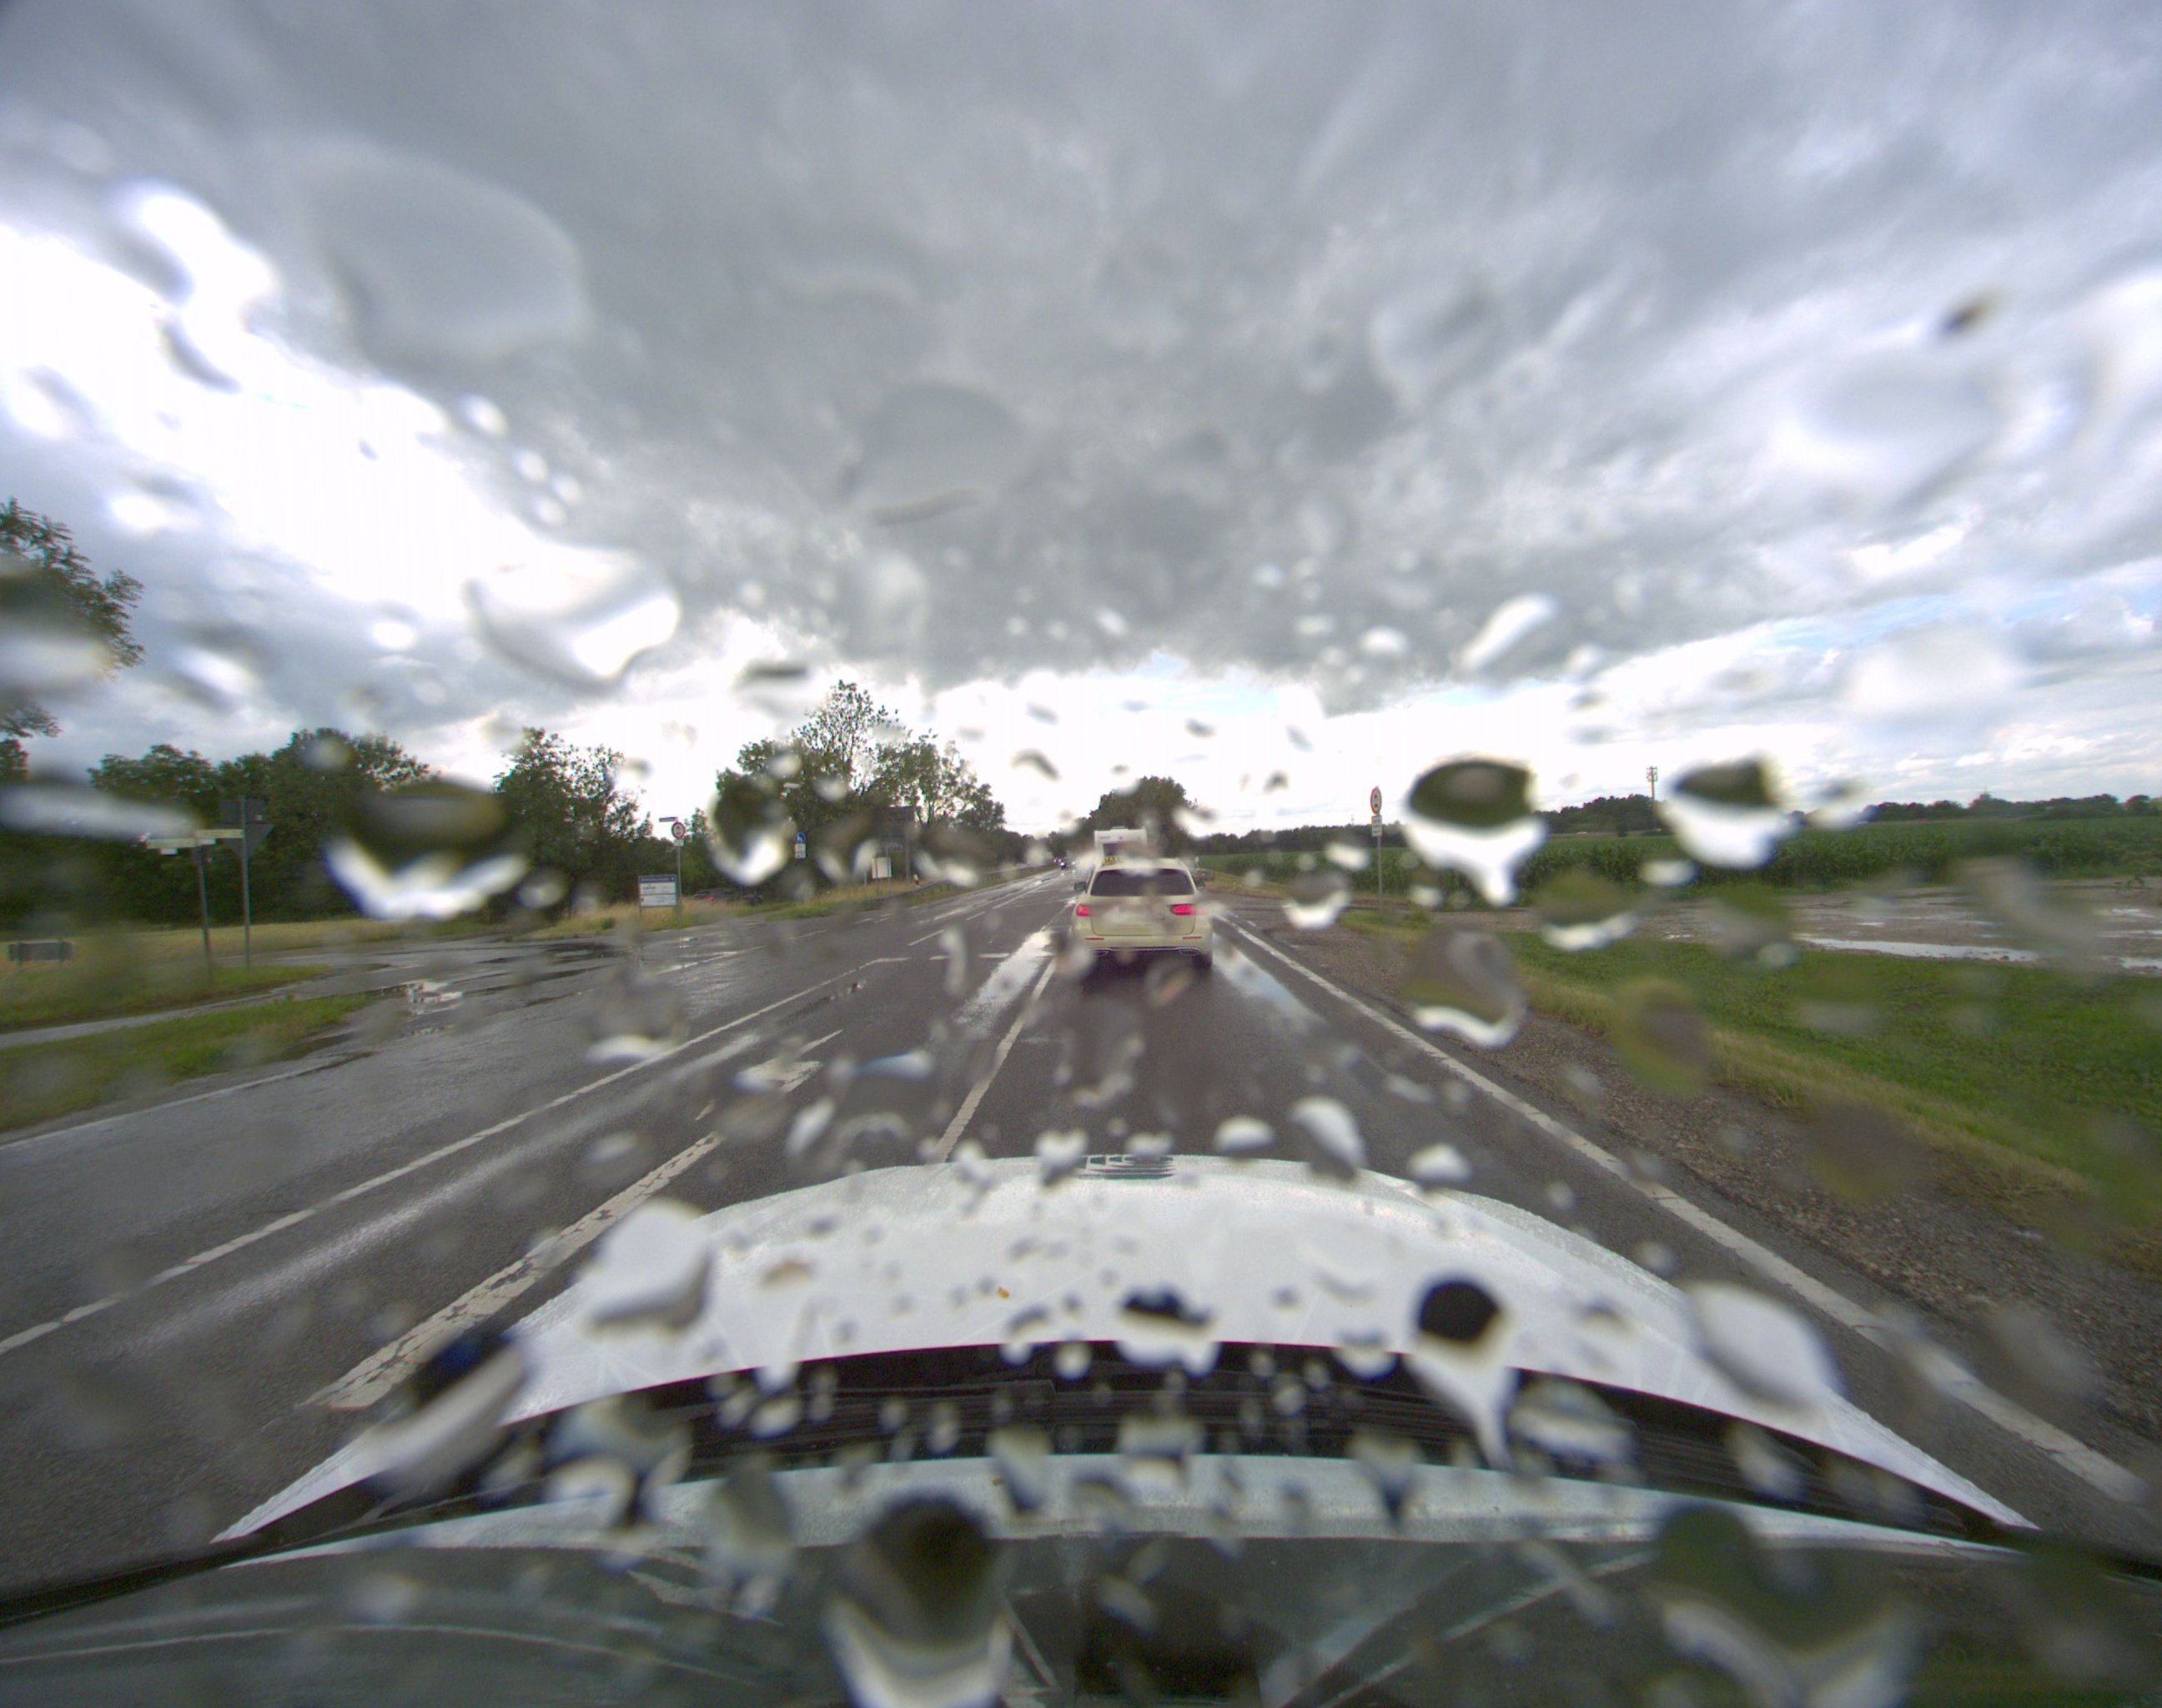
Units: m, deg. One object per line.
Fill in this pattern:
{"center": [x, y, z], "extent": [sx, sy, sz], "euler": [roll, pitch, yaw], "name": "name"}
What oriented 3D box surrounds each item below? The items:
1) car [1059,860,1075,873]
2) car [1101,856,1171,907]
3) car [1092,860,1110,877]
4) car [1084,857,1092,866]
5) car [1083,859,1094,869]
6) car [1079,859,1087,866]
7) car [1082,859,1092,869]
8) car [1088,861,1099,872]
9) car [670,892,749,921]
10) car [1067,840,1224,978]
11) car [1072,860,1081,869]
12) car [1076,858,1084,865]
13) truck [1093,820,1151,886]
{"center": [-1.717, 1.588, 103.253], "extent": [1.821, 1.574, 4.002], "euler": [0, 0, 2], "name": "car"}
{"center": [1.648, 0.800, 25.332], "extent": [1.986, 1.462, 4.002], "euler": [0, 0, 2], "name": "car"}
{"center": [2.296, 1.623, 93.943], "extent": [1.907, 1.841, 3.798], "euler": [-2, 0, 3], "name": "car"}
{"center": [1.631, 1.740, 191.642], "extent": [1.733, 1.860, 3.786], "euler": [-2, 0, 2], "name": "car"}
{"center": [1.494, 1.952, 157.793], "extent": [1.872, 1.761, 3.835], "euler": [-2, 0, 2], "name": "car"}
{"center": [0.506, 2.184, 201.235], "extent": [1.744, 1.662, 3.669], "euler": [-2, 0, -2], "name": "car"}
{"center": [1.160, 1.989, 166.421], "extent": [1.845, 2.013, 3.812], "euler": [-2, 0, 2], "name": "car"}
{"center": [2.172, 2.107, 139.008], "extent": [1.784, 1.777, 3.722], "euler": [-2, 0, 2], "name": "car"}
{"center": [-23.205, 3.247, 51.125], "extent": [2.288, 1.547, 4.644], "euler": [0, 0, 9], "name": "car"}
{"center": [0.834, 0.658, 11.719], "extent": [1.836, 1.618, 4.002], "euler": [-1, 0, 2], "name": "car"}
{"center": [-0.910, 2.113, 158.939], "extent": [1.574, 1.640, 3.443], "euler": [-2, 0, 1], "name": "car"}
{"center": [-0.330, 1.926, 209.481], "extent": [1.890, 1.895, 3.841], "euler": [-2, 0, -1], "name": "car"}
{"center": [1.883, -0.053, 38.607], "extent": [2.354, 2.729, 7.317], "euler": [-2, 0, 2], "name": "truck"}
